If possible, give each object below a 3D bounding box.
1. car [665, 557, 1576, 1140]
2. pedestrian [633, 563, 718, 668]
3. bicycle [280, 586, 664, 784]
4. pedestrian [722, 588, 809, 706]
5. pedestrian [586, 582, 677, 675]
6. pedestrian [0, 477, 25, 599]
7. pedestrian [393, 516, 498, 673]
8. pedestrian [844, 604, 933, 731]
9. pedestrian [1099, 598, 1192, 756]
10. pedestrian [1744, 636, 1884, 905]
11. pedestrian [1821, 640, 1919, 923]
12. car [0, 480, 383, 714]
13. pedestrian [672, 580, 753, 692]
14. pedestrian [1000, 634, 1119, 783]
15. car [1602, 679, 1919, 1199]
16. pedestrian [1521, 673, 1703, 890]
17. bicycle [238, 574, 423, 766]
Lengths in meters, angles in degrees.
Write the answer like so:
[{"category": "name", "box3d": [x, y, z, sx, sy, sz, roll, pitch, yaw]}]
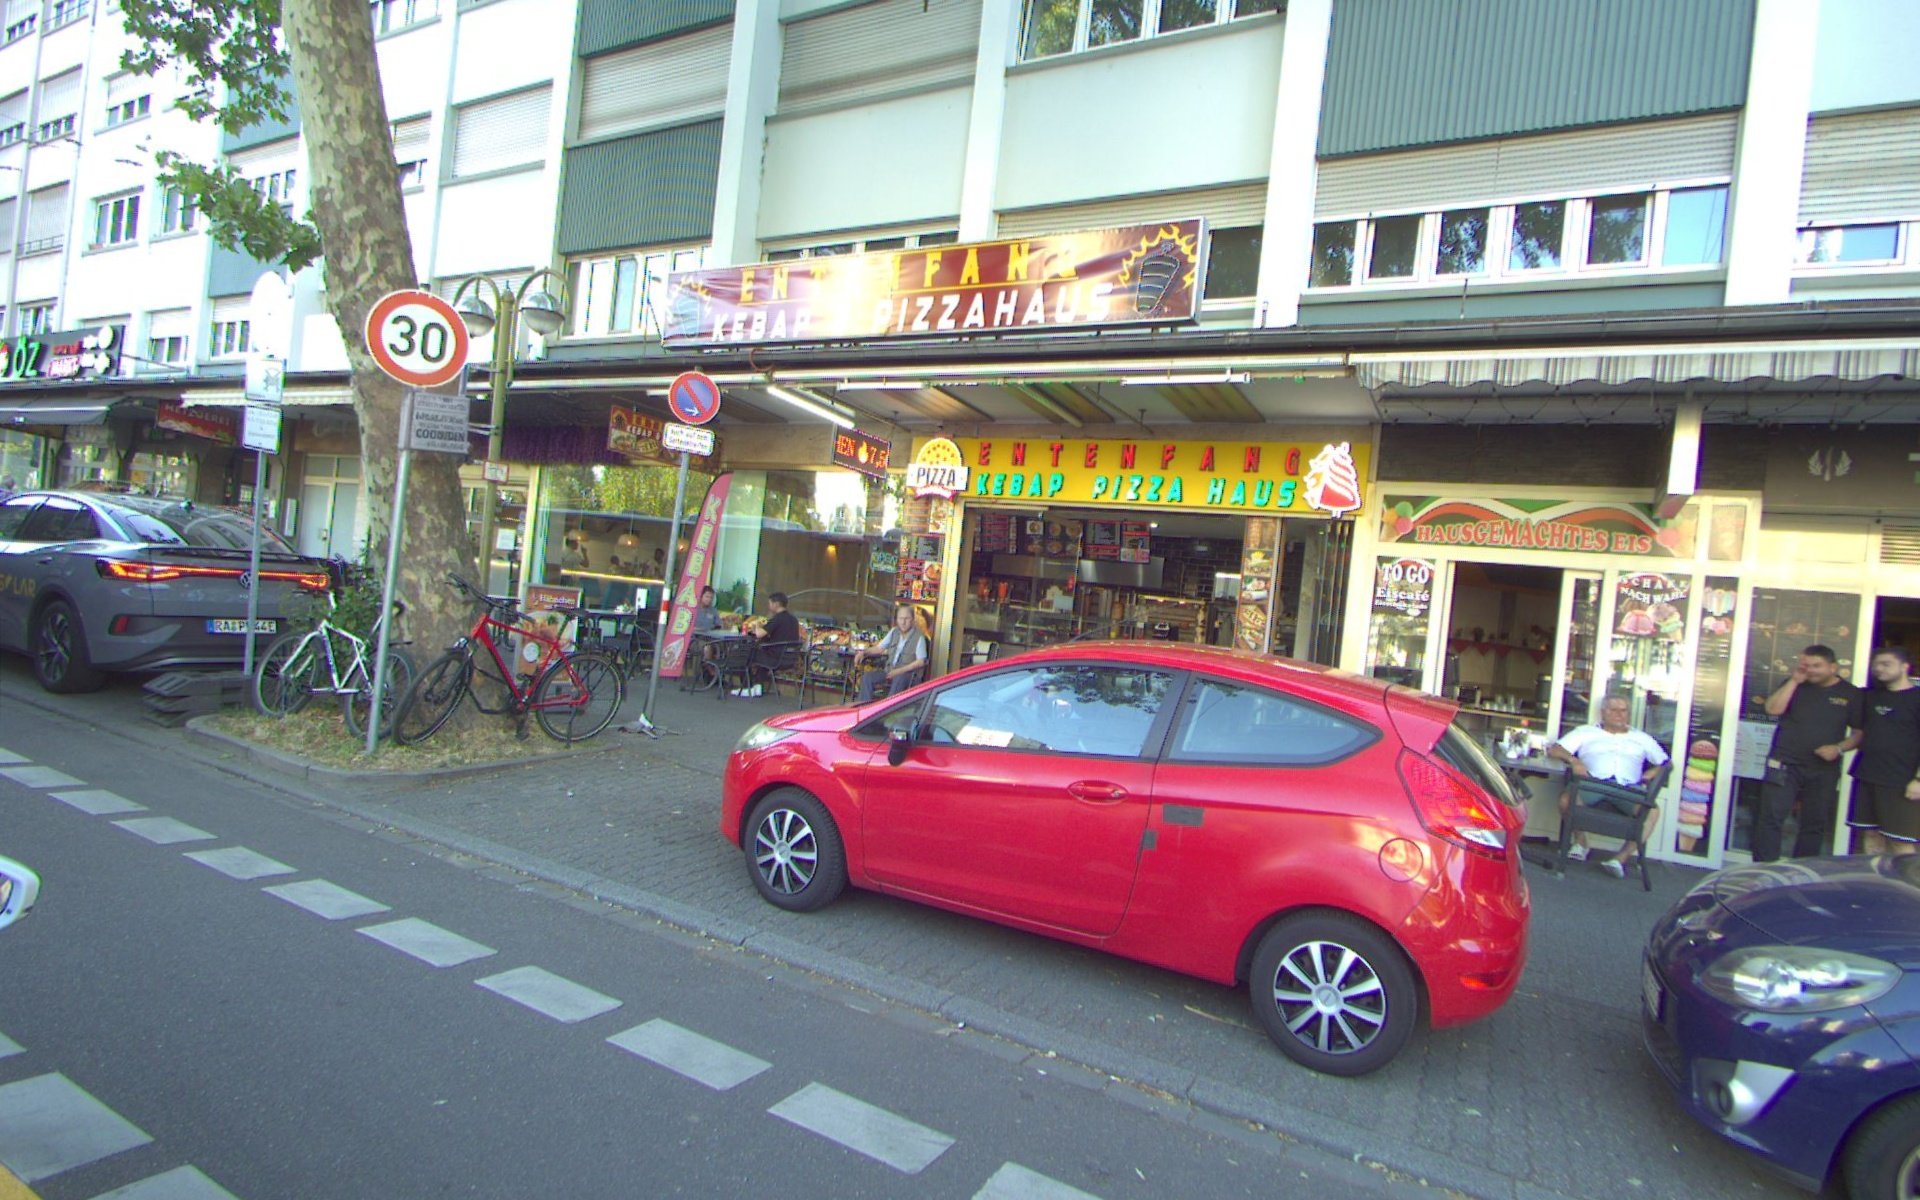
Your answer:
[{"category": "car", "box3d": [0.650, 0.788, 4.913, 3.757, 1.617, 1.783, 6, 3, 28]}, {"category": "pedestrian", "box3d": [-4.066, 0.219, 14.447, 0.958, 1.350, 0.830, 6, 0, -9]}, {"category": "bicycle", "box3d": [-3.329, 0.523, 7.104, 0.547, 1.171, 2.377, 7, 4, 44]}, {"category": "pedestrian", "box3d": [-2.252, 0.539, 11.655, 0.679, 1.261, 0.558, 7, 2, 33]}, {"category": "pedestrian", "box3d": [-4.303, 0.363, 13.242, 0.940, 1.094, 0.639, 7, 0, -9]}, {"category": "pedestrian", "box3d": [-13.652, -0.899, 14.143, 0.661, 1.688, 0.593, 4, 2, -42]}, {"category": "pedestrian", "box3d": [-5.823, -0.057, 11.389, 0.783, 1.667, 0.583, 7, 1, 30]}, {"category": "pedestrian", "box3d": [-0.754, 0.712, 10.764, 0.550, 1.252, 0.689, 7, 2, 29]}, {"category": "pedestrian", "box3d": [1.989, 0.814, 10.737, 0.589, 1.566, 0.700, 7, 0, 34]}, {"category": "pedestrian", "box3d": [6.088, 1.184, 7.198, 0.547, 1.802, 0.395, 6, 2, 29]}, {"category": "pedestrian", "box3d": [6.364, 1.203, 6.821, 0.391, 1.805, 0.552, 4, 2, -29]}, {"category": "car", "box3d": [-7.655, -0.161, 9.244, 4.292, 1.603, 1.996, 7, 2, 27]}, {"category": "pedestrian", "box3d": [-3.010, 0.436, 12.225, 0.680, 1.261, 0.557, 7, 2, 38]}, {"category": "pedestrian", "box3d": [0.927, 0.977, 9.348, 0.798, 1.225, 0.654, 7, 2, 28]}, {"category": "car", "box3d": [4.087, 1.249, 2.863, 3.549, 1.488, 1.767, 6, 3, 29]}, {"category": "pedestrian", "box3d": [4.802, 1.281, 7.494, 0.937, 1.352, 1.069, 7, 0, 30]}, {"category": "bicycle", "box3d": [-4.551, 0.469, 7.242, 1.421, 1.169, 0.553, 6, 0, 36]}]
